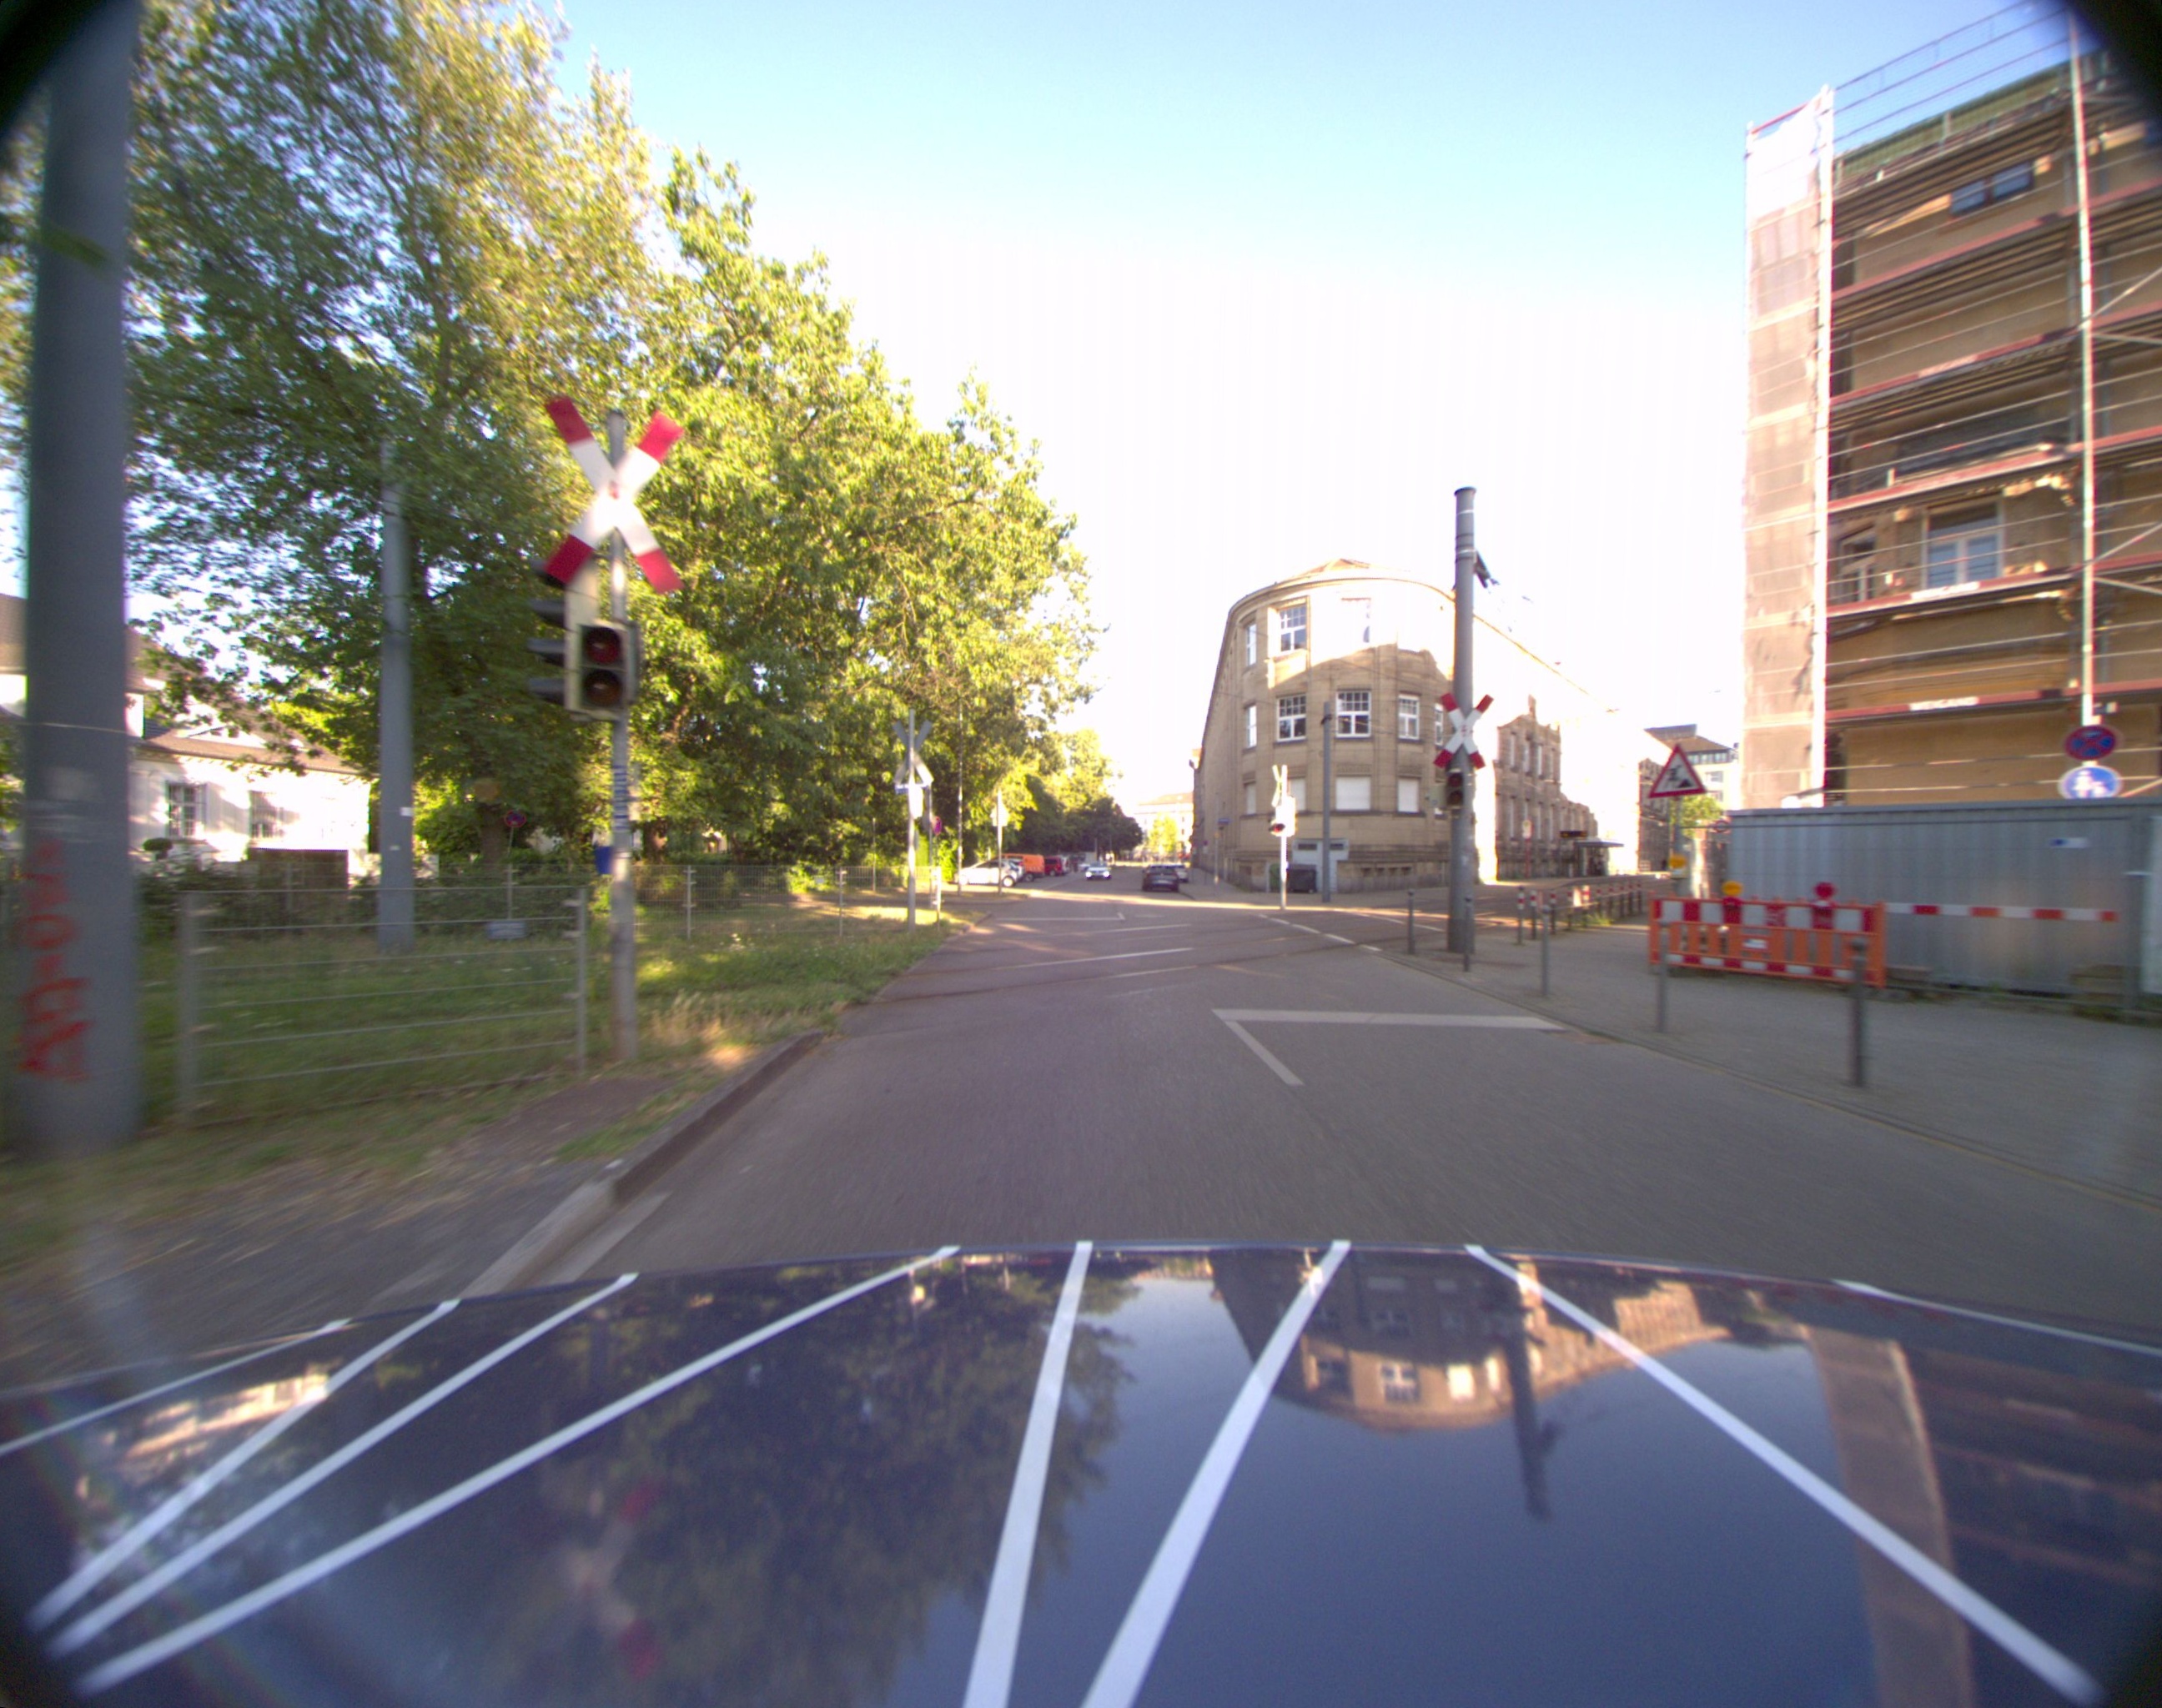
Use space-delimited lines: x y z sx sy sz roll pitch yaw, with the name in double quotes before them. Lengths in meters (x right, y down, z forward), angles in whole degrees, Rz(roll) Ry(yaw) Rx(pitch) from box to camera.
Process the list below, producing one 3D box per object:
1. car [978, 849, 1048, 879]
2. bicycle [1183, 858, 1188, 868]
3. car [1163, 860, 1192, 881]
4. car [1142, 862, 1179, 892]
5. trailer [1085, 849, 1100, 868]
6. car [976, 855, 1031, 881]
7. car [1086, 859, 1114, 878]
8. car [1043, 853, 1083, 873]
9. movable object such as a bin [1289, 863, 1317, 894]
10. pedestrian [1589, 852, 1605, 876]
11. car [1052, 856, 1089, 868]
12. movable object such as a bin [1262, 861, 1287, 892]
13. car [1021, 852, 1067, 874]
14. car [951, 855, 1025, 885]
"car" -4.851 0.704 54.782 4.807 1.986 2.081 2 0 1
"bicycle" 13.670 1.164 99.519 0.457 1.202 1.880 1 0 16
"car" 7.078 1.211 56.150 1.747 1.426 4.562 -1 0 3
"car" 4.069 1.135 39.244 1.747 1.439 4.210 1 0 4
"trailer" 1.621 0.653 106.305 1.600 2.625 3.705 1 0 8
"car" -5.286 0.931 52.070 3.403 1.622 1.680 2 0 5
"car" 1.567 1.132 61.859 1.686 1.444 4.106 1 0 9
"car" -1.728 0.859 73.877 3.608 1.873 1.785 2 1 8
"movable object such as a bin" 10.443 1.133 35.861 1.184 1.420 1.924 0 0 14
"pedestrian" 39.638 0.754 58.392 0.823 1.825 0.750 0 0 -37
"car" -1.337 1.004 95.505 4.439 1.458 1.712 1 0 8
"movable object such as a bin" 9.467 1.066 37.177 1.147 1.477 1.629 0 0 14
"car" -3.474 0.832 71.433 3.978 1.852 1.921 2 0 9
"car" -5.359 0.929 43.996 3.997 1.538 1.735 2 0 1
